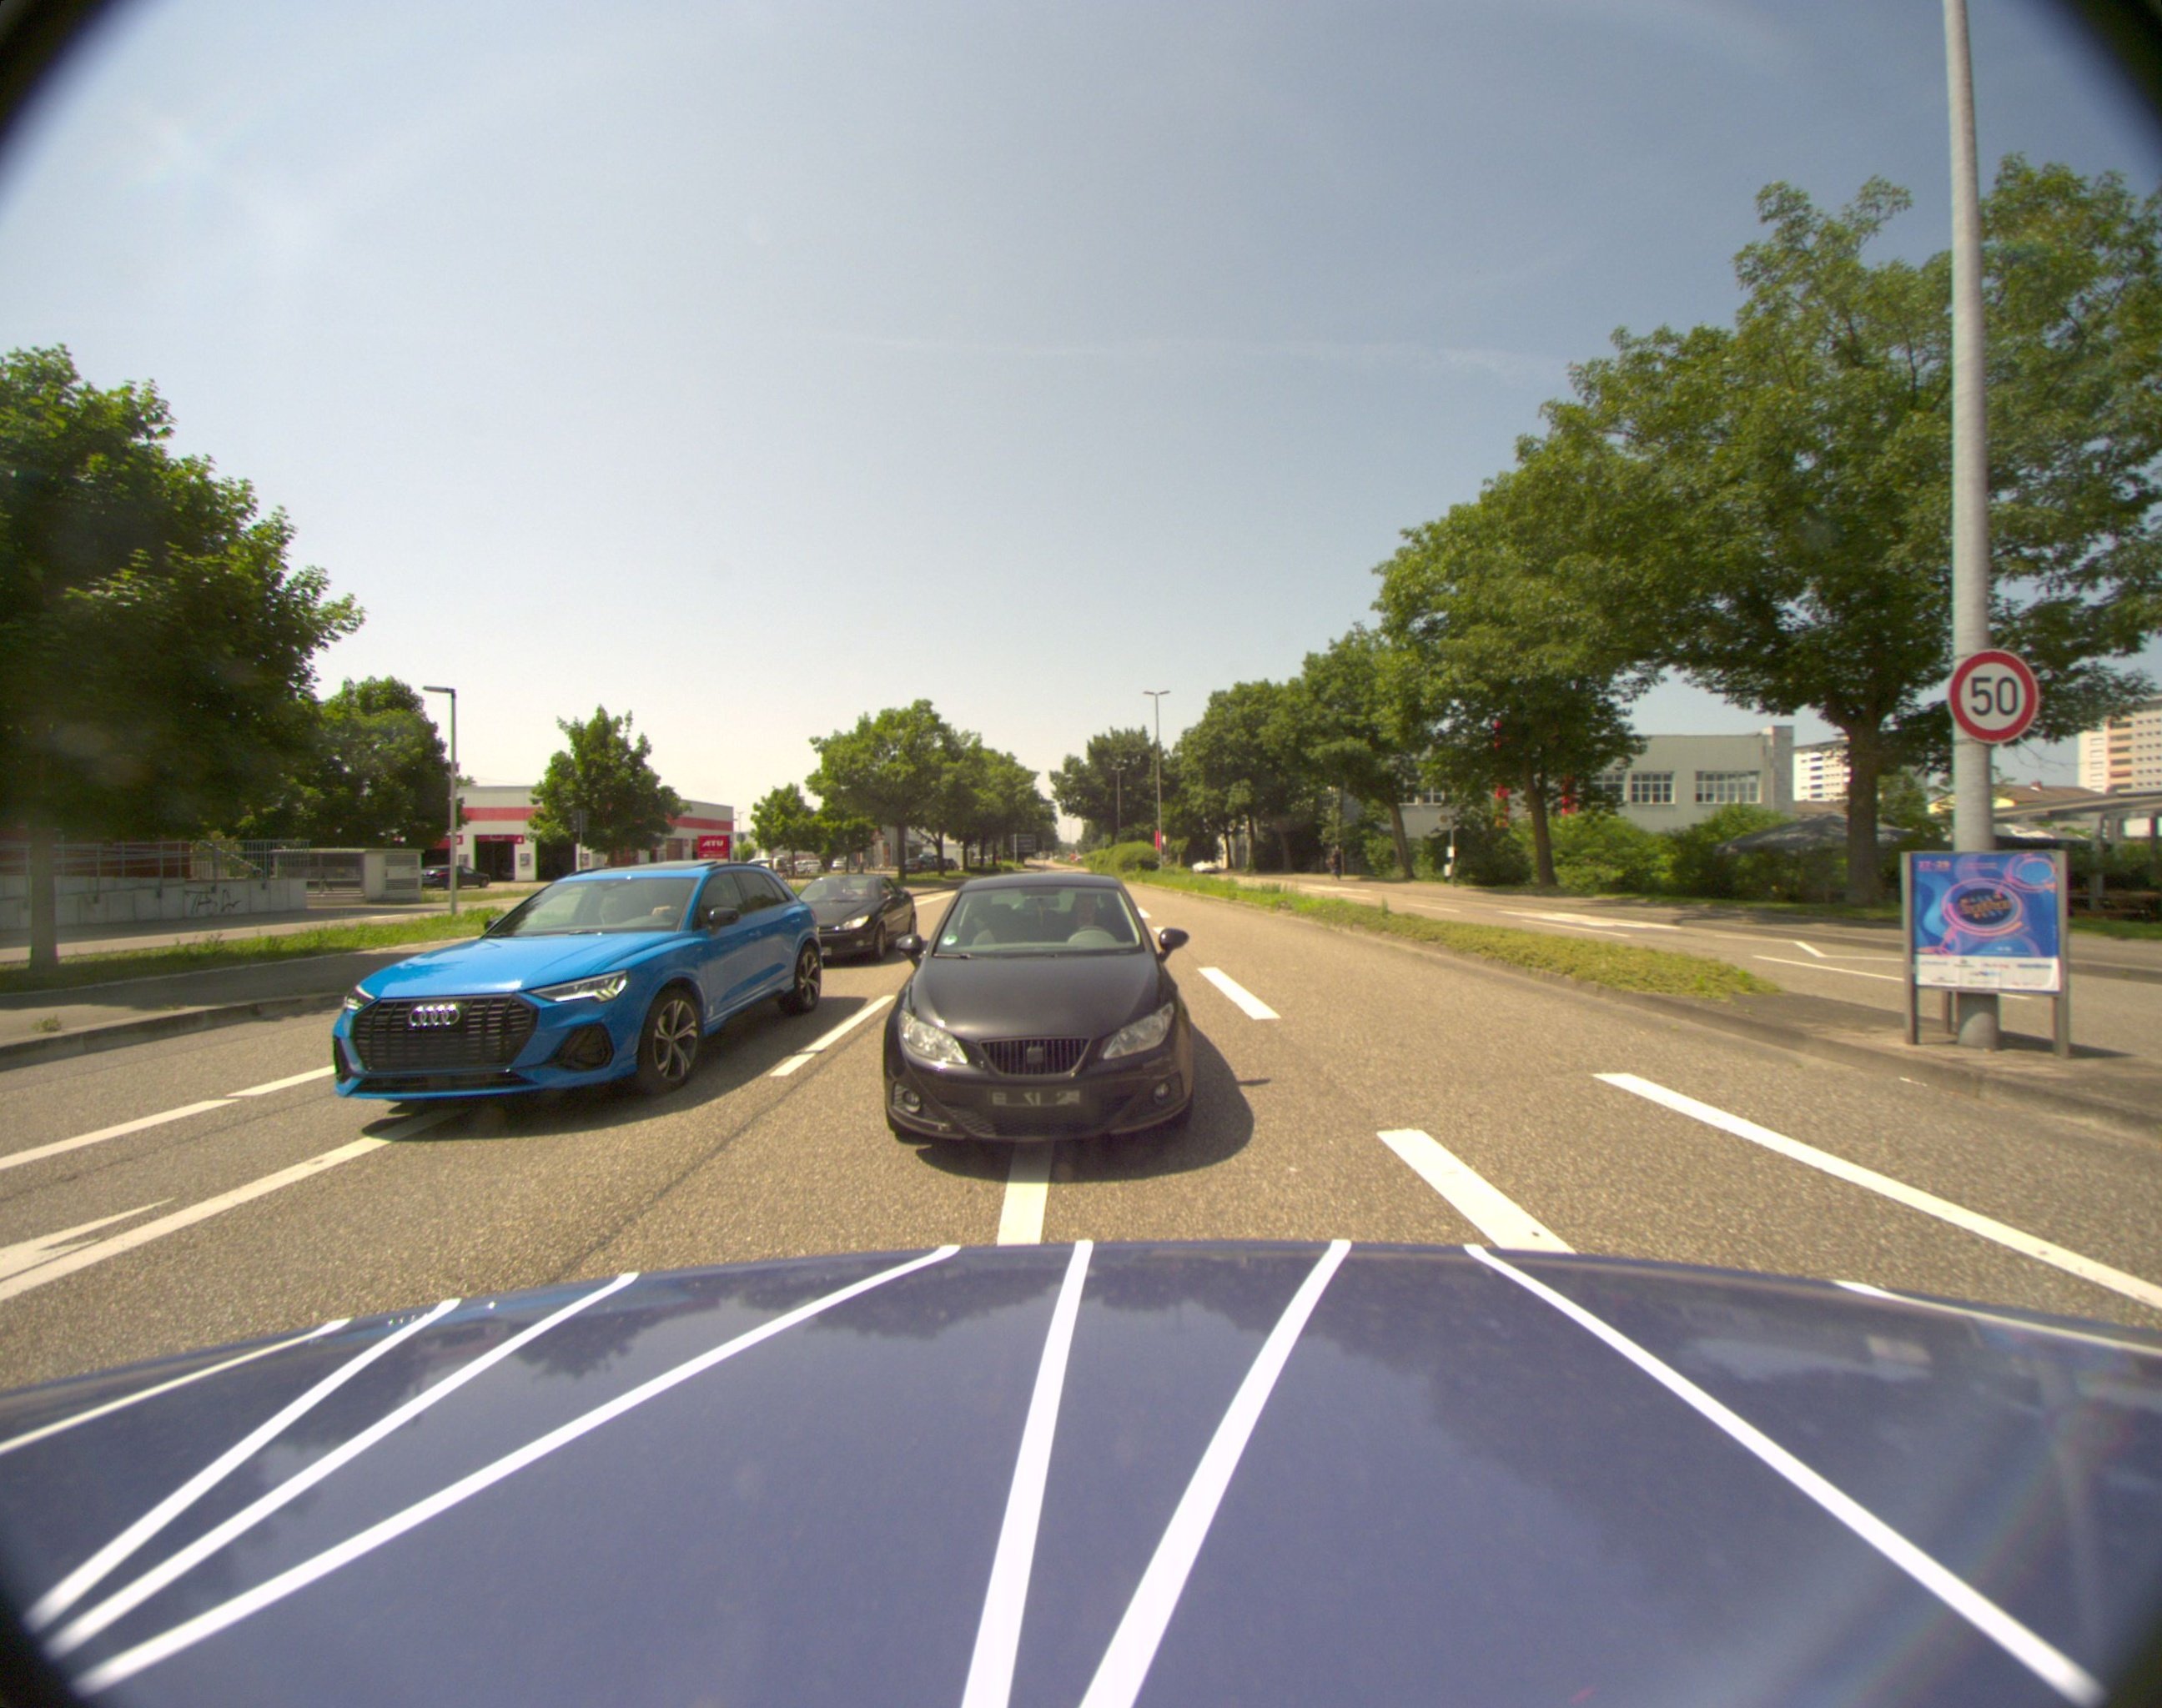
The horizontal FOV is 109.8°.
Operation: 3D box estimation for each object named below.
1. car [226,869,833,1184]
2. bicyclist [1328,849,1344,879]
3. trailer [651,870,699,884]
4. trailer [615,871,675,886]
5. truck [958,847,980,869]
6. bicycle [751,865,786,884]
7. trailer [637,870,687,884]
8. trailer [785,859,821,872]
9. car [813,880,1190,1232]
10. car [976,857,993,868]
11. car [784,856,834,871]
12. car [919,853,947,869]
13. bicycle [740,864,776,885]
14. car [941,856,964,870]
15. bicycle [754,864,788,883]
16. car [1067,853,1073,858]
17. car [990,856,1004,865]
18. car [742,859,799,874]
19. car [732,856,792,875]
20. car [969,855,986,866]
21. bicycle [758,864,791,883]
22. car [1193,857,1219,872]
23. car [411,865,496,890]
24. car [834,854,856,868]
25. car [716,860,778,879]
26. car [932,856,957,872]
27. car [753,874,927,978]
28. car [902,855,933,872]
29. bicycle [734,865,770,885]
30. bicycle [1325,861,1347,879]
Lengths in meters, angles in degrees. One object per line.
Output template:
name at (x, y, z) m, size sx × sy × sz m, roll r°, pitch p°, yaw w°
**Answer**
car at (-3.729, 0.990, 6.358) m, size 1.842 × 1.586 × 4.399 m, roll -1°, pitch 0°, yaw 0°
bicyclist at (15.075, 0.585, 44.986) m, size 0.651 × 1.759 × 0.927 m, roll -1°, pitch 1°, yaw 0°
trailer at (-24.137, 1.371, 45.201) m, size 2.137 × 0.757 × 1.394 m, roll -1°, pitch 0°, yaw 1°
trailer at (-23.969, 1.356, 41.819) m, size 2.467 × 0.757 × 1.449 m, roll -1°, pitch 0°, yaw 1°
truck at (-13.616, 0.480, 92.587) m, size 1.904 × 2.552 × 4.000 m, roll 0°, pitch 0°, yaw 2°
bicycle at (-18.231, 1.190, 44.302) m, size 1.784 × 1.117 × 0.514 m, roll 0°, pitch 1°, yaw -7°
trailer at (-24.084, 1.331, 43.692) m, size 2.137 × 0.757 × 1.267 m, roll -1°, pitch 0°, yaw 1°
trailer at (-24.752, 1.021, 67.733) m, size 2.642 × 1.046 × 1.578 m, roll 0°, pitch 0°, yaw -2°
car at (-0.364, 0.955, 5.335) m, size 1.642 × 1.395 × 4.000 m, roll 0°, pitch 0°, yaw -1°
car at (-13.360, 1.126, 105.187) m, size 1.719 × 1.458 × 4.000 m, roll 0°, pitch 0°, yaw 1°
car at (-25.107, 0.875, 70.175) m, size 3.998 × 1.293 × 1.689 m, roll 0°, pitch 0°, yaw -3°
car at (-13.483, 0.628, 69.511) m, size 1.719 × 1.458 × 4.000 m, roll 0°, pitch 0°, yaw 1°
bicycle at (-18.503, 1.169, 43.556) m, size 1.784 × 1.117 × 0.514 m, roll 0°, pitch 1°, yaw -7°
car at (-13.624, 0.938, 80.859) m, size 1.719 × 1.504 × 4.000 m, roll 0°, pitch 0°, yaw 1°
bicycle at (-18.327, 1.153, 44.942) m, size 1.784 × 1.117 × 0.514 m, roll 0°, pitch 1°, yaw -7°
car at (-3.367, 0.498, 236.909) m, size 1.999 × 1.692 × 4.000 m, roll 0°, pitch 0°, yaw 0°
car at (-13.110, 1.014, 119.019) m, size 1.719 × 1.458 × 4.000 m, roll 0°, pitch 0°, yaw 1°
car at (-25.651, 1.011, 62.825) m, size 3.998 × 1.201 × 1.747 m, roll 0°, pitch 0°, yaw -3°
car at (-25.326, 0.896, 60.457) m, size 3.998 × 1.394 × 1.747 m, roll 0°, pitch 0°, yaw -3°
car at (-13.387, 0.821, 98.422) m, size 1.719 × 1.458 × 4.000 m, roll 0°, pitch 0°, yaw 1°
bicycle at (-18.418, 1.173, 45.661) m, size 1.784 × 1.117 × 0.514 m, roll 0°, pitch 1°, yaw -7°
car at (11.914, 0.998, 72.740) m, size 1.722 × 1.255 × 4.301 m, roll 2°, pitch 0°, yaw 0°
car at (-38.201, 1.407, 46.382) m, size 1.717 × 1.364 × 4.145 m, roll 0°, pitch 0°, yaw 0°
car at (-27.492, 0.756, 88.545) m, size 1.759 × 1.586 × 3.997 m, roll 0°, pitch 0°, yaw -7°
car at (-25.552, 1.204, 58.228) m, size 3.998 × 1.394 × 1.747 m, roll 0°, pitch 0°, yaw -3°
car at (-13.392, 0.971, 74.685) m, size 1.719 × 1.511 × 4.000 m, roll 0°, pitch 0°, yaw 1°
car at (-3.867, 1.084, 12.915) m, size 1.642 × 1.336 × 4.000 m, roll -3°, pitch 0°, yaw 0°
car at (-13.564, 0.786, 63.283) m, size 1.642 × 1.363 × 4.000 m, roll 0°, pitch 0°, yaw 1°
bicycle at (-18.587, 1.187, 42.930) m, size 1.784 × 1.117 × 0.514 m, roll 0°, pitch 1°, yaw -7°
bicycle at (15.078, 0.943, 44.993) m, size 0.656 × 1.045 × 1.884 m, roll -1°, pitch 0°, yaw 0°
